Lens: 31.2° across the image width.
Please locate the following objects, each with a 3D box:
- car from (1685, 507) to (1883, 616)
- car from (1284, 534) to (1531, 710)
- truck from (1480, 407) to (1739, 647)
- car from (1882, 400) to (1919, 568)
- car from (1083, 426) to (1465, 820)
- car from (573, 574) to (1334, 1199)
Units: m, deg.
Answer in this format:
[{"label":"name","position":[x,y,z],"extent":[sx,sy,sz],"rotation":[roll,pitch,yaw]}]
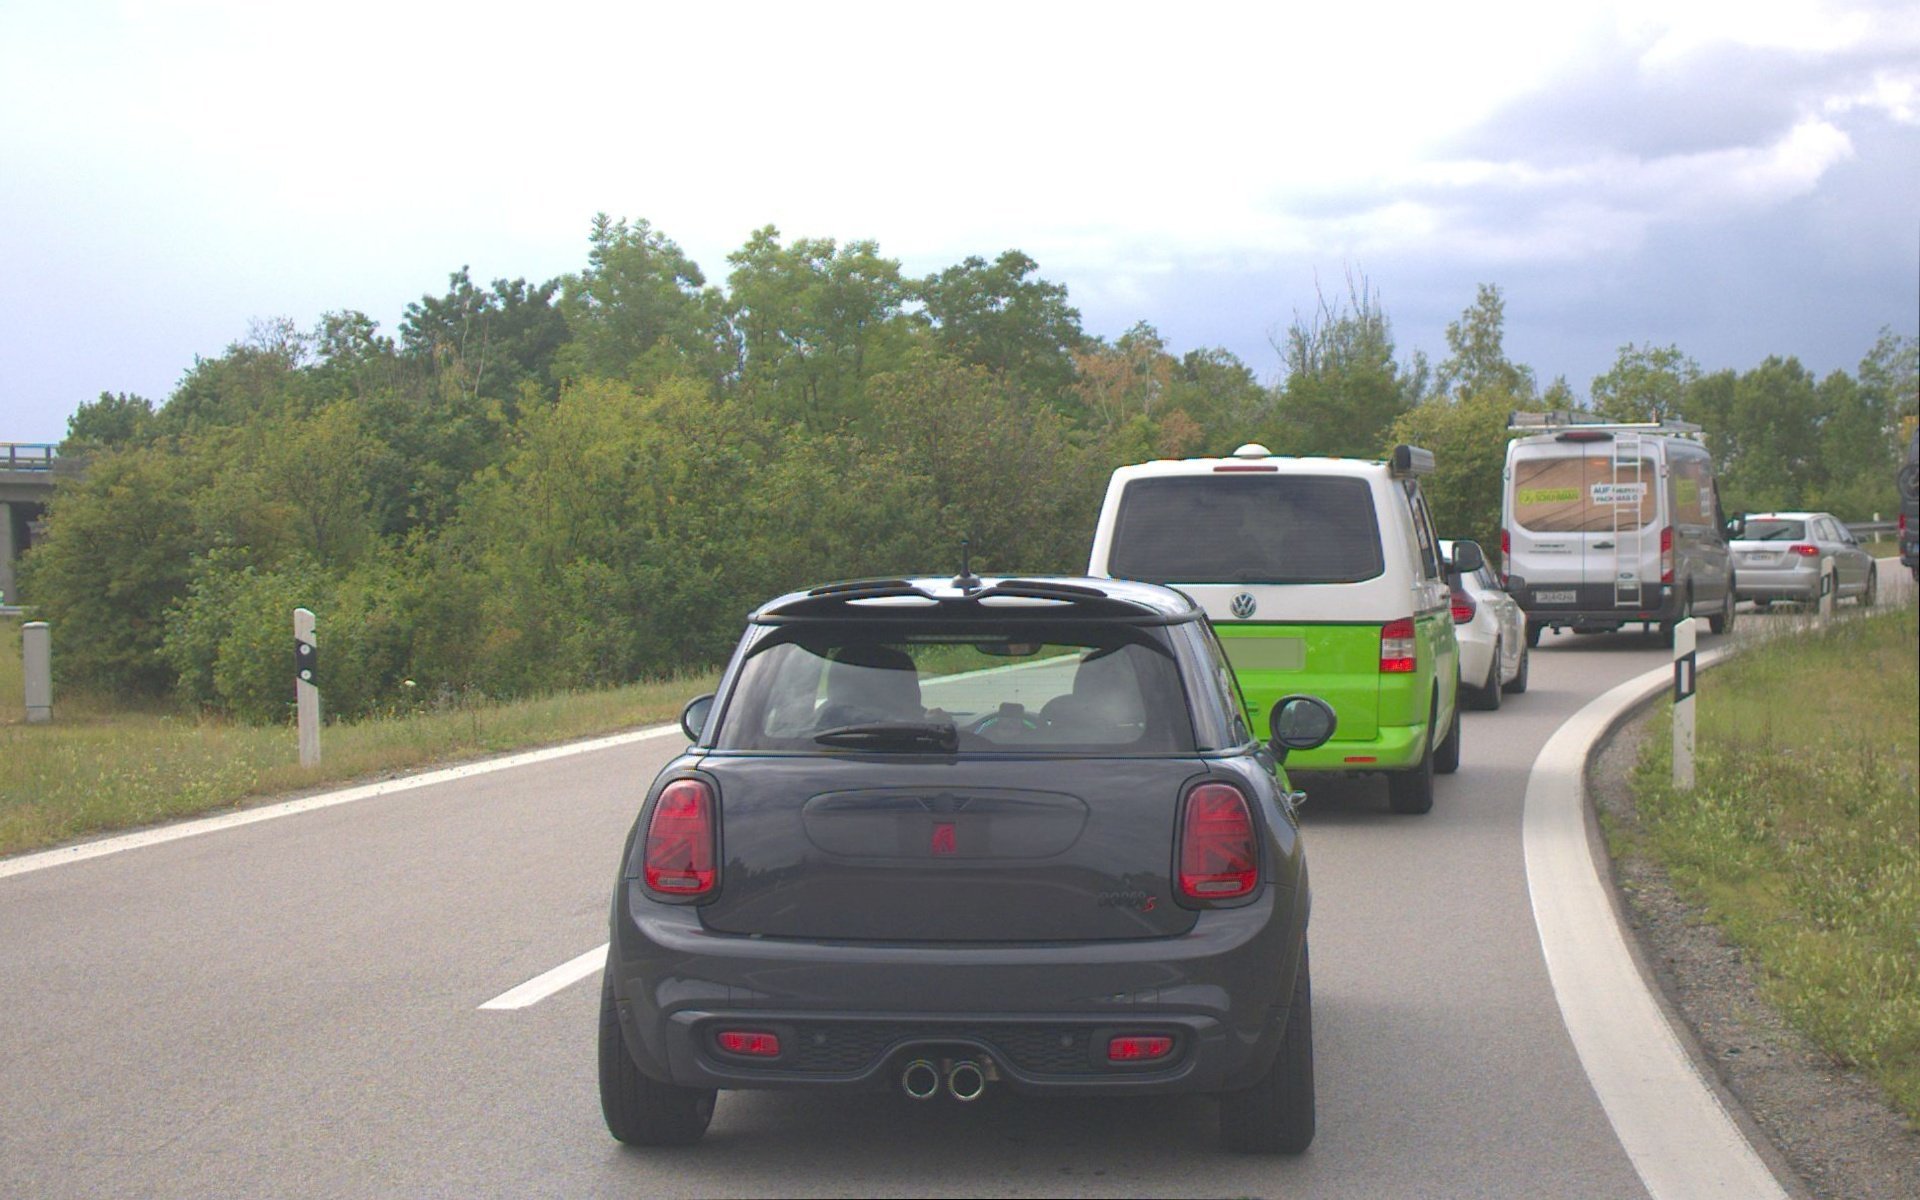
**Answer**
[{"label":"car","position":[11.974,-0.554,49.784],"extent":[1.869,1.505,3.994],"rotation":[0,0,28]},{"label":"car","position":[3.884,0.163,29.374],"extent":[1.763,1.394,3.723],"rotation":[0,0,13]},{"label":"truck","position":[7.791,-0.866,40.827],"extent":[2.180,2.649,5.103],"rotation":[0,1,20]},{"label":"car","position":[17.275,-1.932,58.591],"extent":[2.108,2.787,3.994],"rotation":[1,1,28]},{"label":"car","position":[1.895,0.097,19.647],"extent":[1.785,2.007,3.998],"rotation":[1,0,11]},{"label":"car","position":[0.144,0.639,9.659],"extent":[1.727,1.409,3.724],"rotation":[0,0,5]}]
